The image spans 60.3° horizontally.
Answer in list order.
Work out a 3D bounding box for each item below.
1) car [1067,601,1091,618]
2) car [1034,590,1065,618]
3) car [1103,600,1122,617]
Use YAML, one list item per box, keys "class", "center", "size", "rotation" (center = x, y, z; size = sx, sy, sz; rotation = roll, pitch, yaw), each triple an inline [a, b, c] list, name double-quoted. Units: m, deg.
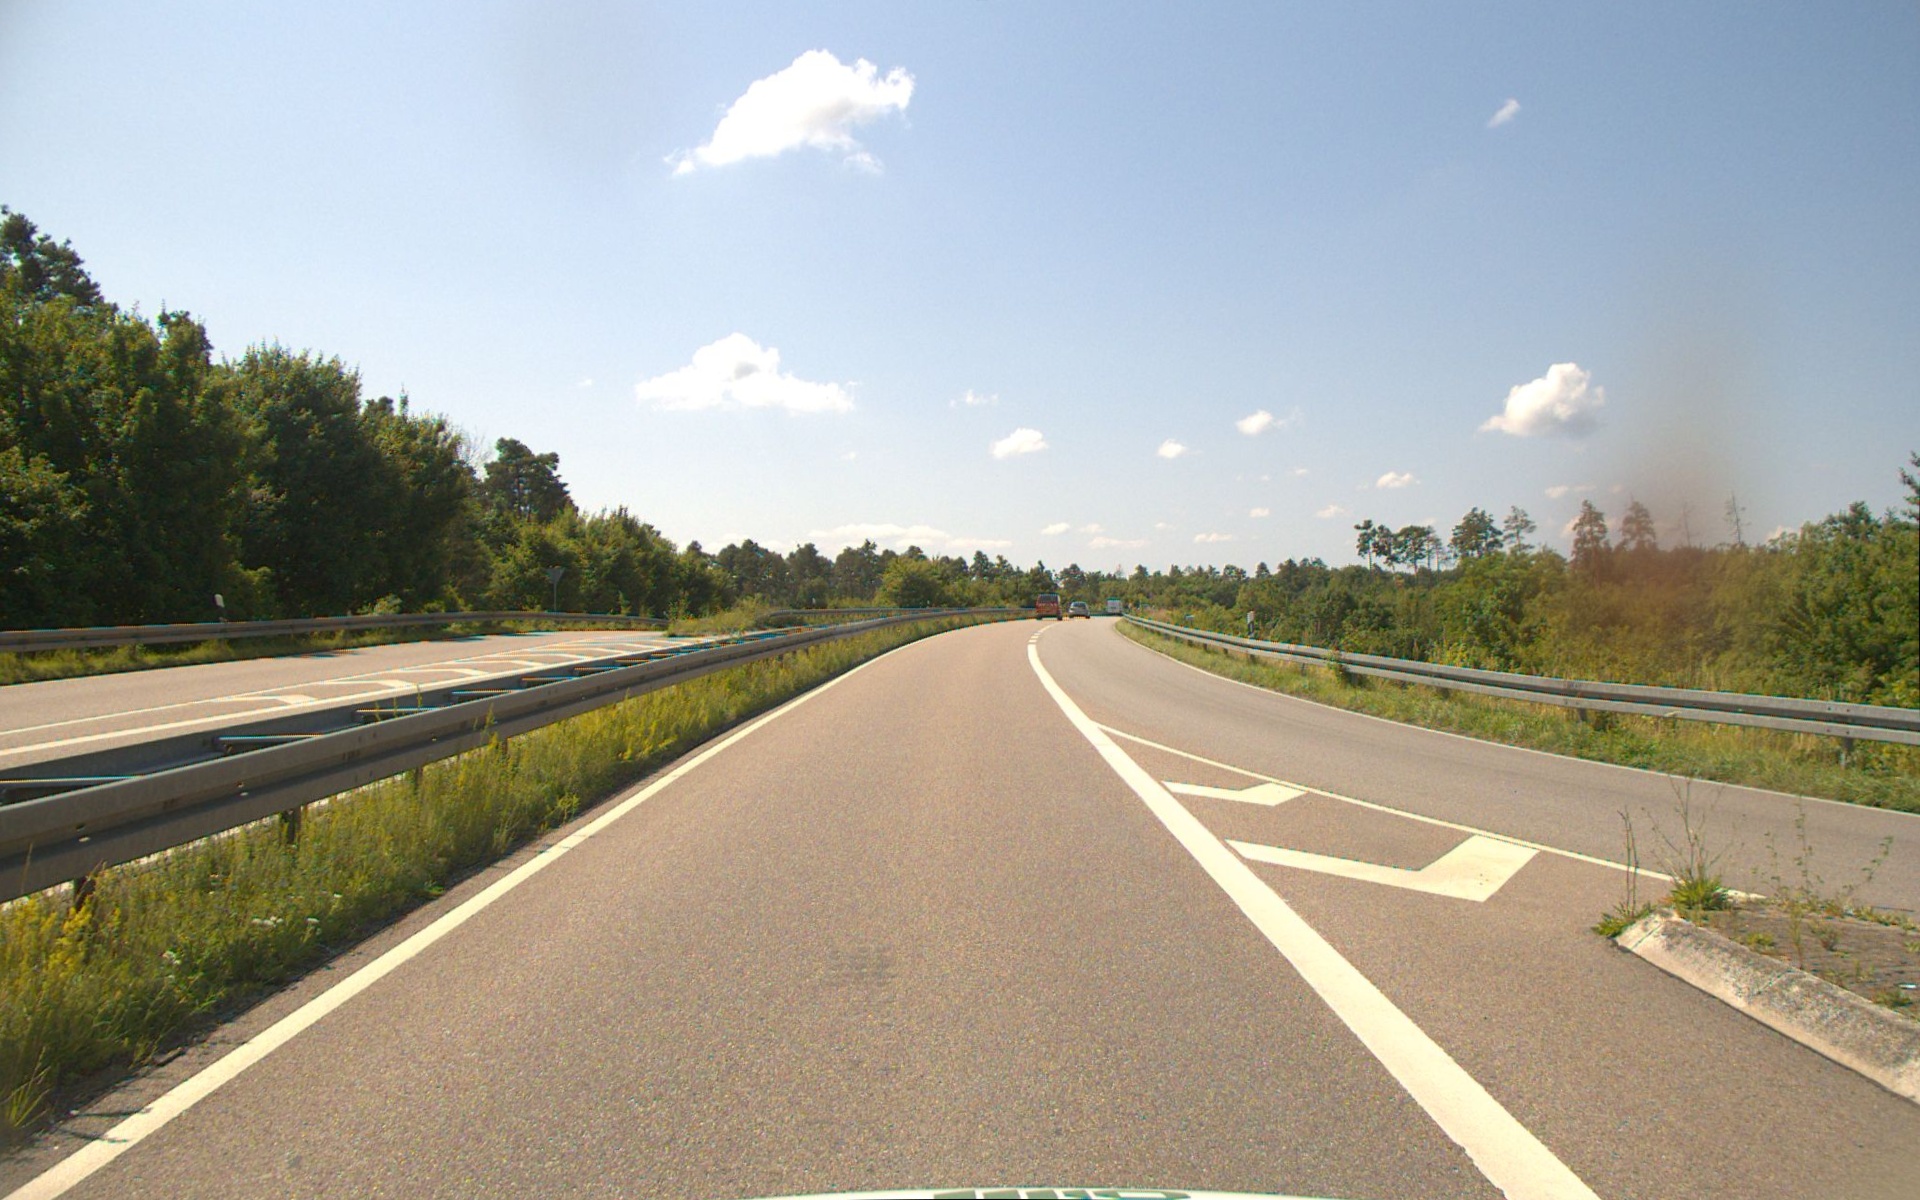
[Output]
- class: "car"
  center: [10.907, 0.871, 151.665]
  size: [1.964, 1.520, 4.241]
  rotation: [1, -1, 7]
- class: "car"
  center: [7.026, 0.331, 129.418]
  size: [2.033, 2.028, 5.115]
  rotation: [1, -1, 7]
- class: "car"
  center: [18.673, 1.028, 202.795]
  size: [2.138, 1.989, 5.807]
  rotation: [1, -1, 7]
